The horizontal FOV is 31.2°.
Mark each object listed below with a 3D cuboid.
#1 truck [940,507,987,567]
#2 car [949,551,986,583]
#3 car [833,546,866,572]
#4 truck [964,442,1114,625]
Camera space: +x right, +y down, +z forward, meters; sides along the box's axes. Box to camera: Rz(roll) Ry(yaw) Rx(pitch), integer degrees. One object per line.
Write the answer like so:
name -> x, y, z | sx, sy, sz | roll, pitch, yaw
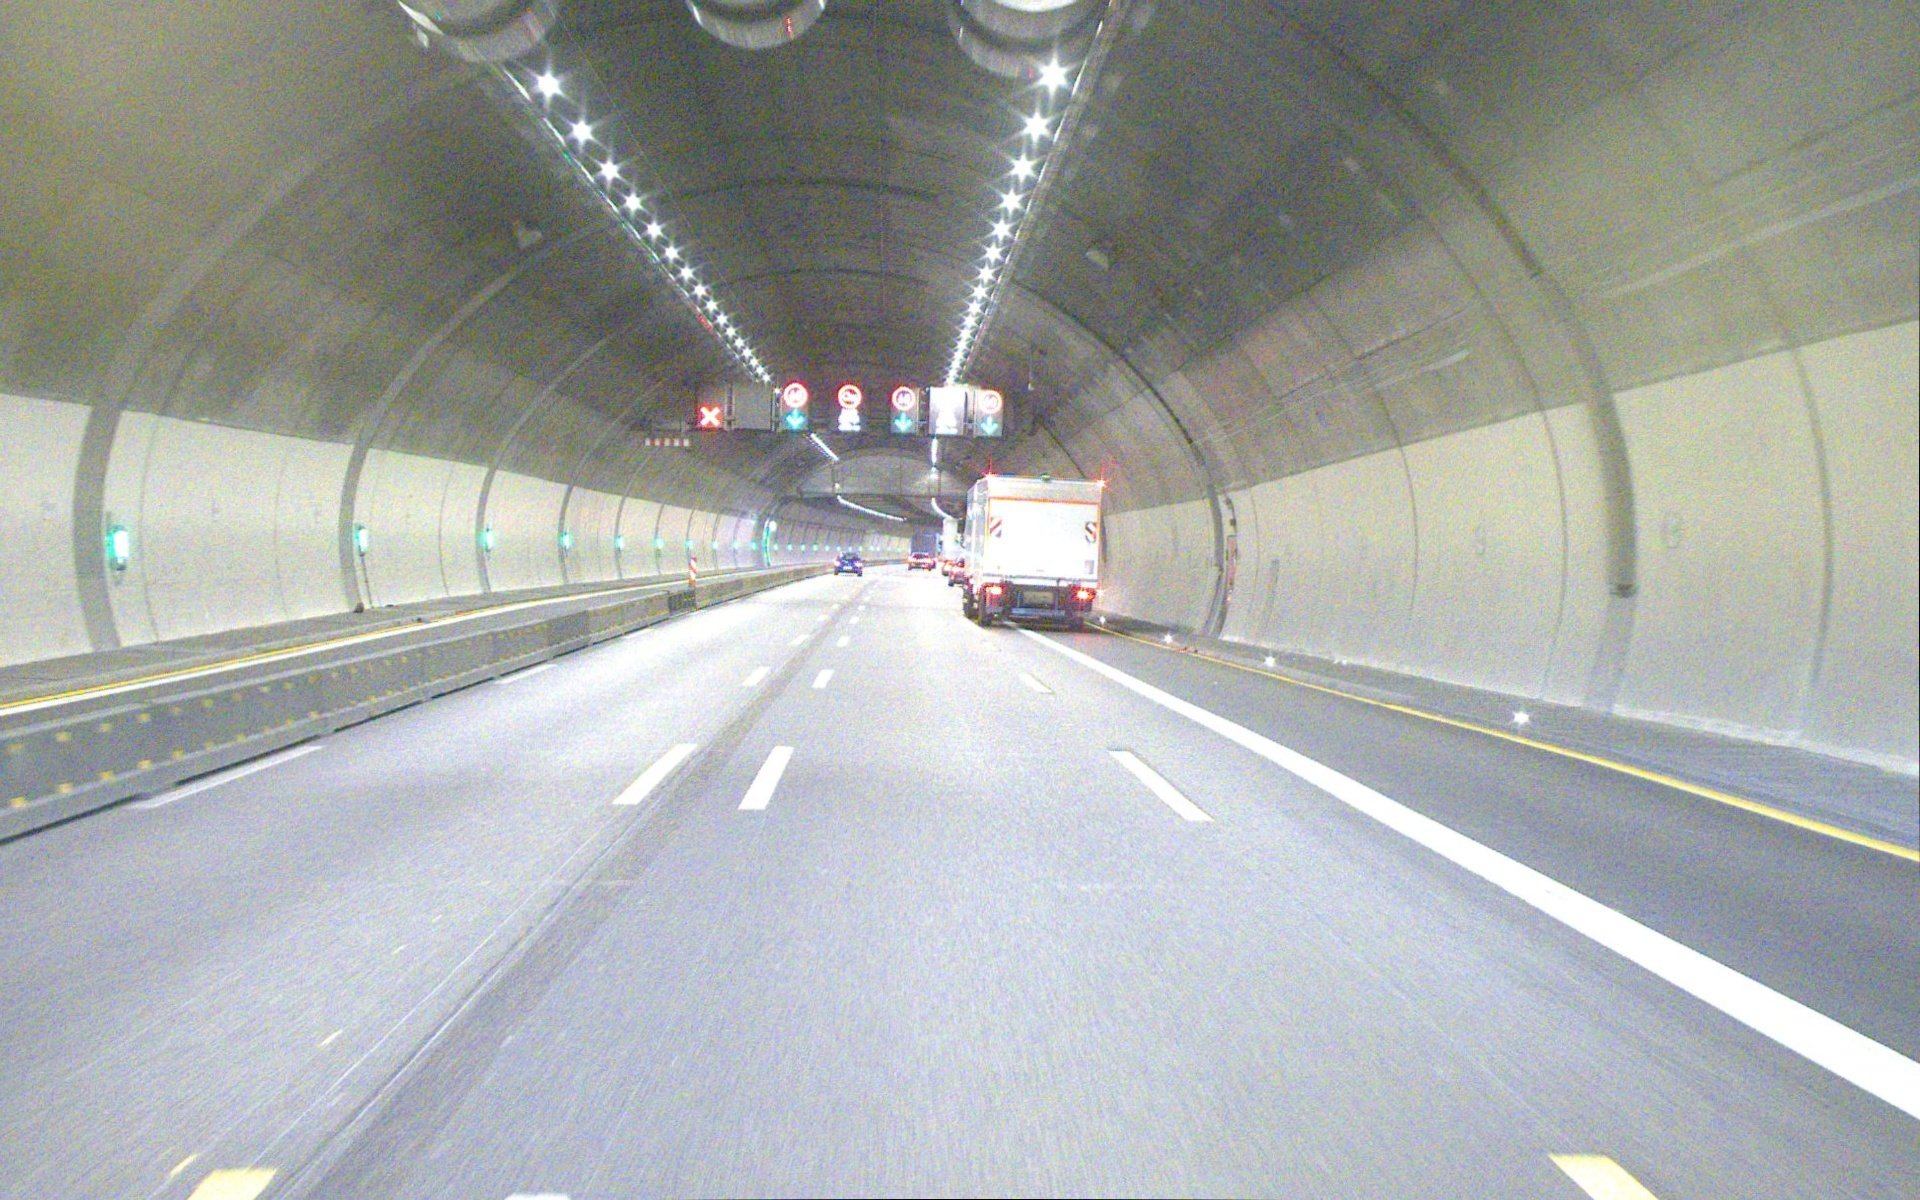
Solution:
truck -> 0.255, -4.345, 239.608 | 3.066, 3.904, 10.367 | 1, 0, 1
car -> 0.377, -1.637, 169.187 | 1.739, 1.456, 3.960 | 1, 1, 1
car -> -6.366, -2.371, 198.396 | 1.758, 1.456, 4.119 | 1, 1, 0
truck -> 1.735, -1.469, 80.212 | 3.092, 3.904, 10.368 | 1, 0, 0
